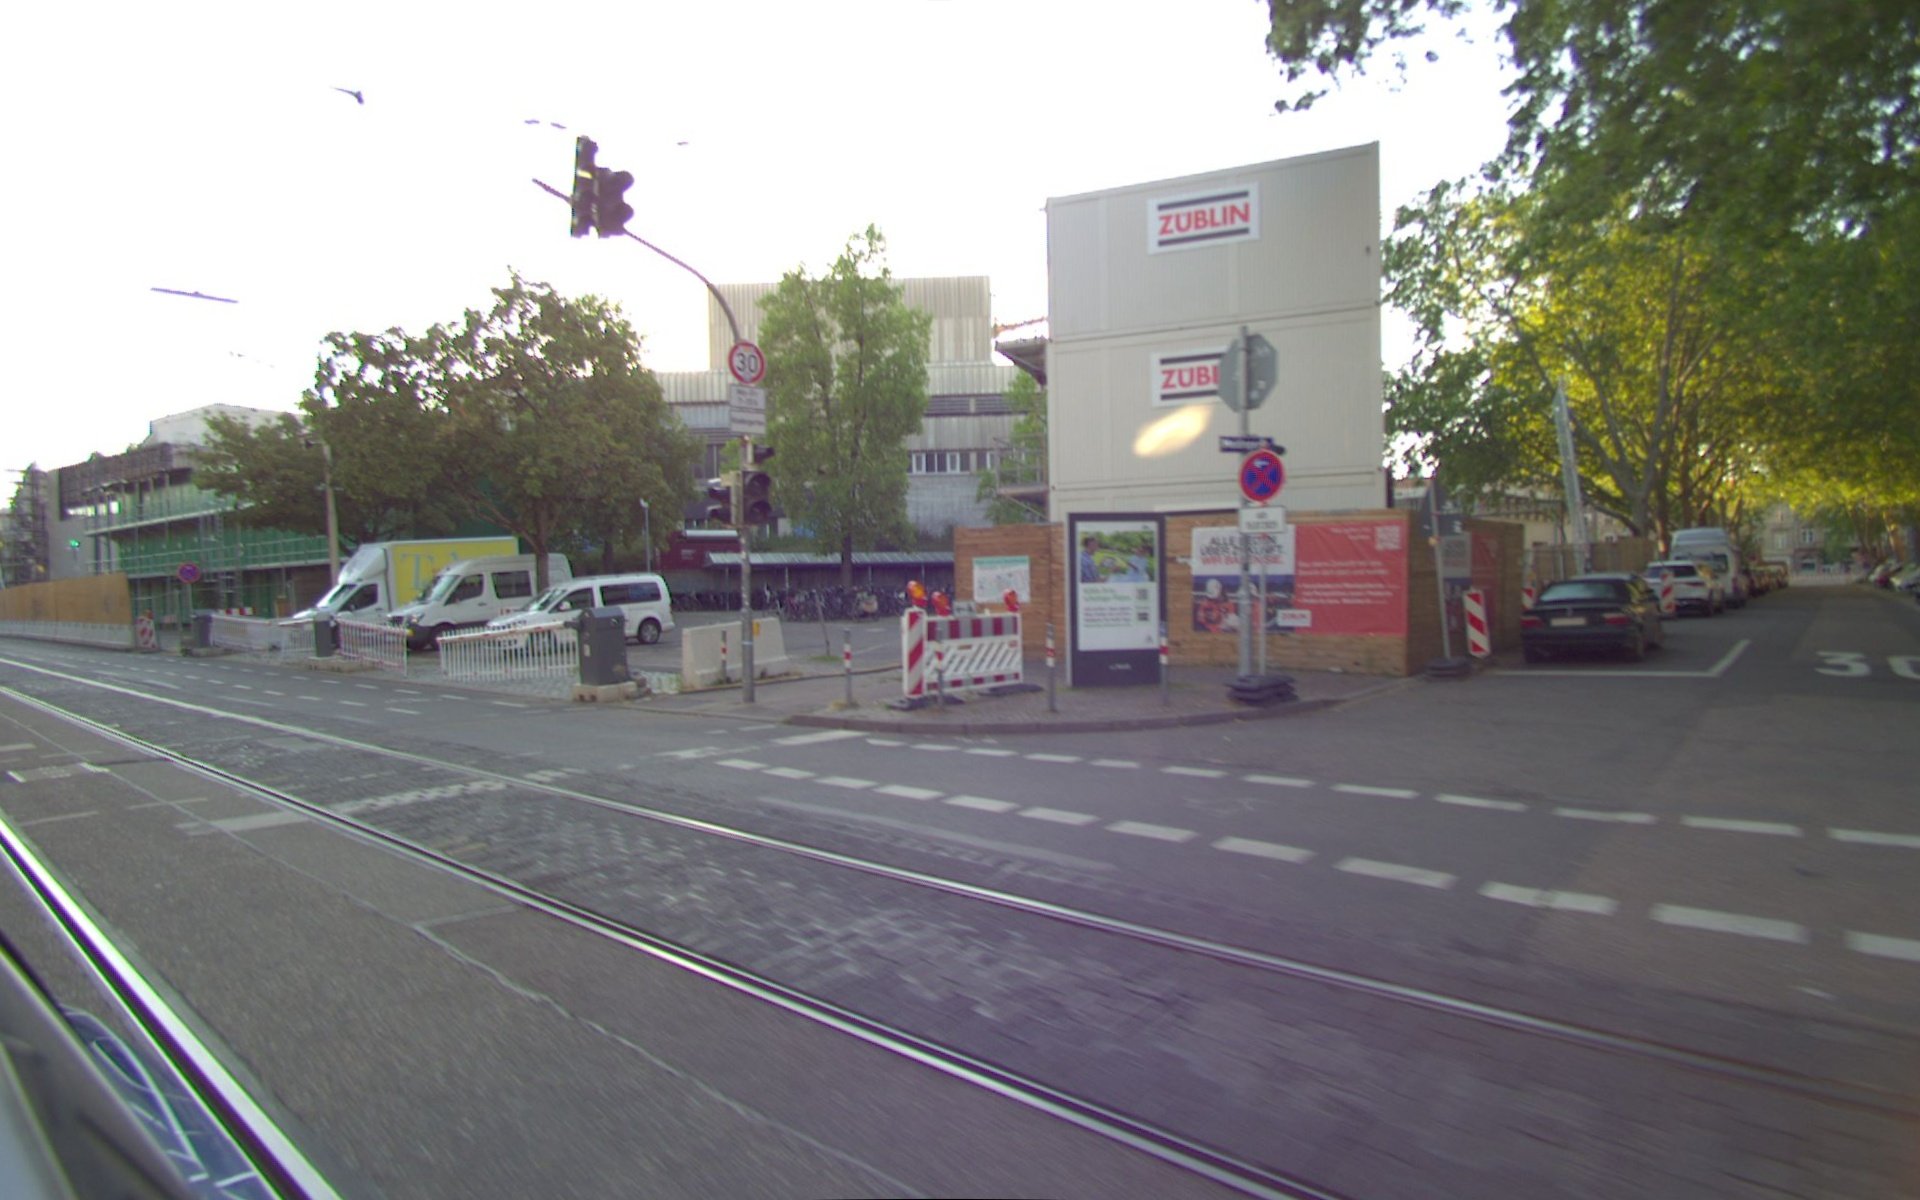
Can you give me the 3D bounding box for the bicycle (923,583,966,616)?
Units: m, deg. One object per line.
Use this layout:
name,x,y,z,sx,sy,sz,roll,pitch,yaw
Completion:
bicycle,-0.668,-0.015,42.509,0.535,1.379,1.978,-2,1,-45

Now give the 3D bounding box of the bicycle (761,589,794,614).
bicycle,-9.209,0.089,51.010,0.799,1.190,2.271,-2,0,-32

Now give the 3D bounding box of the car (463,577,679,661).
car,-9.885,0.418,26.026,2.015,1.887,4.781,-2,1,42

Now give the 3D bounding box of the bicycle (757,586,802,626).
bicycle,-6.514,0.226,36.452,0.535,1.379,1.978,-2,1,-45

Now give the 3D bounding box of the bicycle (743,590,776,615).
bicycle,-10.014,0.118,50.475,0.799,1.190,2.271,-2,0,-32

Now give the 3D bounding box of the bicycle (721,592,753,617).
bicycle,-11.035,0.241,49.998,0.799,1.190,2.271,-2,0,-32

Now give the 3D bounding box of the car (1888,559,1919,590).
car,53.867,-1.495,55.642,4.092,1.626,1.734,-4,-1,42

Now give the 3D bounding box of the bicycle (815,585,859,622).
bicycle,-4.656,0.144,38.294,0.535,1.379,1.978,-2,1,-45

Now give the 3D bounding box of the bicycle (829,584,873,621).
bicycle,-4.186,0.119,38.795,0.535,1.379,1.978,-2,1,-45

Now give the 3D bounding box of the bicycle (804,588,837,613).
bicycle,-7.146,0.027,51.716,0.799,1.190,2.271,-2,0,-32

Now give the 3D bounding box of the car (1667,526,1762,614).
car,25.995,-1.024,34.791,2.025,2.742,4.951,-4,-1,42

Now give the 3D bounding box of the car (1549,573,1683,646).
car,14.295,0.166,21.957,1.758,1.370,4.036,-4,-1,42

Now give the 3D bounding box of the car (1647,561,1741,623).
car,21.768,-0.268,29.940,1.758,1.638,4.036,-4,-1,42

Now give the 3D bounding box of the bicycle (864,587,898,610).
bicycle,-4.149,-0.071,52.921,0.799,1.190,2.271,-2,0,-32

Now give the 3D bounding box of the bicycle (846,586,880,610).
bicycle,-5.083,-0.080,52.729,0.799,1.190,2.271,-2,0,-32

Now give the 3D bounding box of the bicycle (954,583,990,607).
bicycle,0.657,-0.257,54.579,0.799,1.190,2.271,-2,0,-32

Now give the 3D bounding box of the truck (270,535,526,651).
truck,-18.540,-0.276,33.828,2.562,3.454,6.992,-2,1,38

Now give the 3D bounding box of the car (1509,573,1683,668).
car,10.844,0.312,17.137,1.758,1.370,4.036,-4,-1,42

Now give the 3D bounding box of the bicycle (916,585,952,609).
bicycle,-1.405,-0.151,54.118,0.799,1.190,2.271,-2,0,-32

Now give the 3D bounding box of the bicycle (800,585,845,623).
bicycle,-5.159,0.171,37.810,0.535,1.379,1.978,-2,1,-45

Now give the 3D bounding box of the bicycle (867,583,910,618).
bicycle,-2.865,0.024,40.584,0.535,1.379,1.978,-2,1,-45

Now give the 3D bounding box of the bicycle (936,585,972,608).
bicycle,-0.327,-0.191,54.104,0.799,1.190,2.271,-2,0,-32

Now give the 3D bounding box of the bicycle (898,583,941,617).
bicycle,-1.679,0.005,41.447,0.535,1.379,1.978,-2,1,-45

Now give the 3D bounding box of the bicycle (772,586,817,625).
bicycle,-6.069,0.208,36.937,0.535,1.379,1.978,-2,1,-45

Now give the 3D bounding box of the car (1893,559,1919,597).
car,44.112,-1.087,44.749,4.092,1.626,1.734,-4,-1,42

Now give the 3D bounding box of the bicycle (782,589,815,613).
bicycle,-8.225,0.064,51.360,0.799,1.190,2.271,-2,0,-32

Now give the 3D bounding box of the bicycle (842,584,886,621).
bicycle,-3.725,0.112,39.339,0.535,1.379,1.978,-2,1,-45

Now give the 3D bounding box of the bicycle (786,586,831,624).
bicycle,-5.596,0.189,37.402,0.535,1.379,1.978,-2,1,-45

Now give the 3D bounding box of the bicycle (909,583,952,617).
bicycle,-1.212,0.009,41.850,0.535,1.379,1.978,-2,1,-45

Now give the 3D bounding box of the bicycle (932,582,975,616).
bicycle,-0.286,-0.032,42.943,0.535,1.379,1.978,-2,1,-45

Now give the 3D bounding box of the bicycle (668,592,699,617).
bicycle,-13.384,0.227,48.964,0.799,1.190,2.271,-2,0,-32

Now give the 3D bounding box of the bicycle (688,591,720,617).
bicycle,-12.459,0.198,49.239,0.799,1.190,2.271,-2,0,-32

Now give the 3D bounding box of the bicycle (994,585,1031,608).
bicycle,2.858,-0.193,55.426,0.799,1.190,2.271,-2,0,-32

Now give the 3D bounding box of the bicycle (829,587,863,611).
bicycle,-5.912,-0.048,52.402,0.799,1.190,2.271,-2,0,-32

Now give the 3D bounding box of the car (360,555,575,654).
car,-14.286,0.072,29.670,2.226,2.616,5.171,-2,1,37
